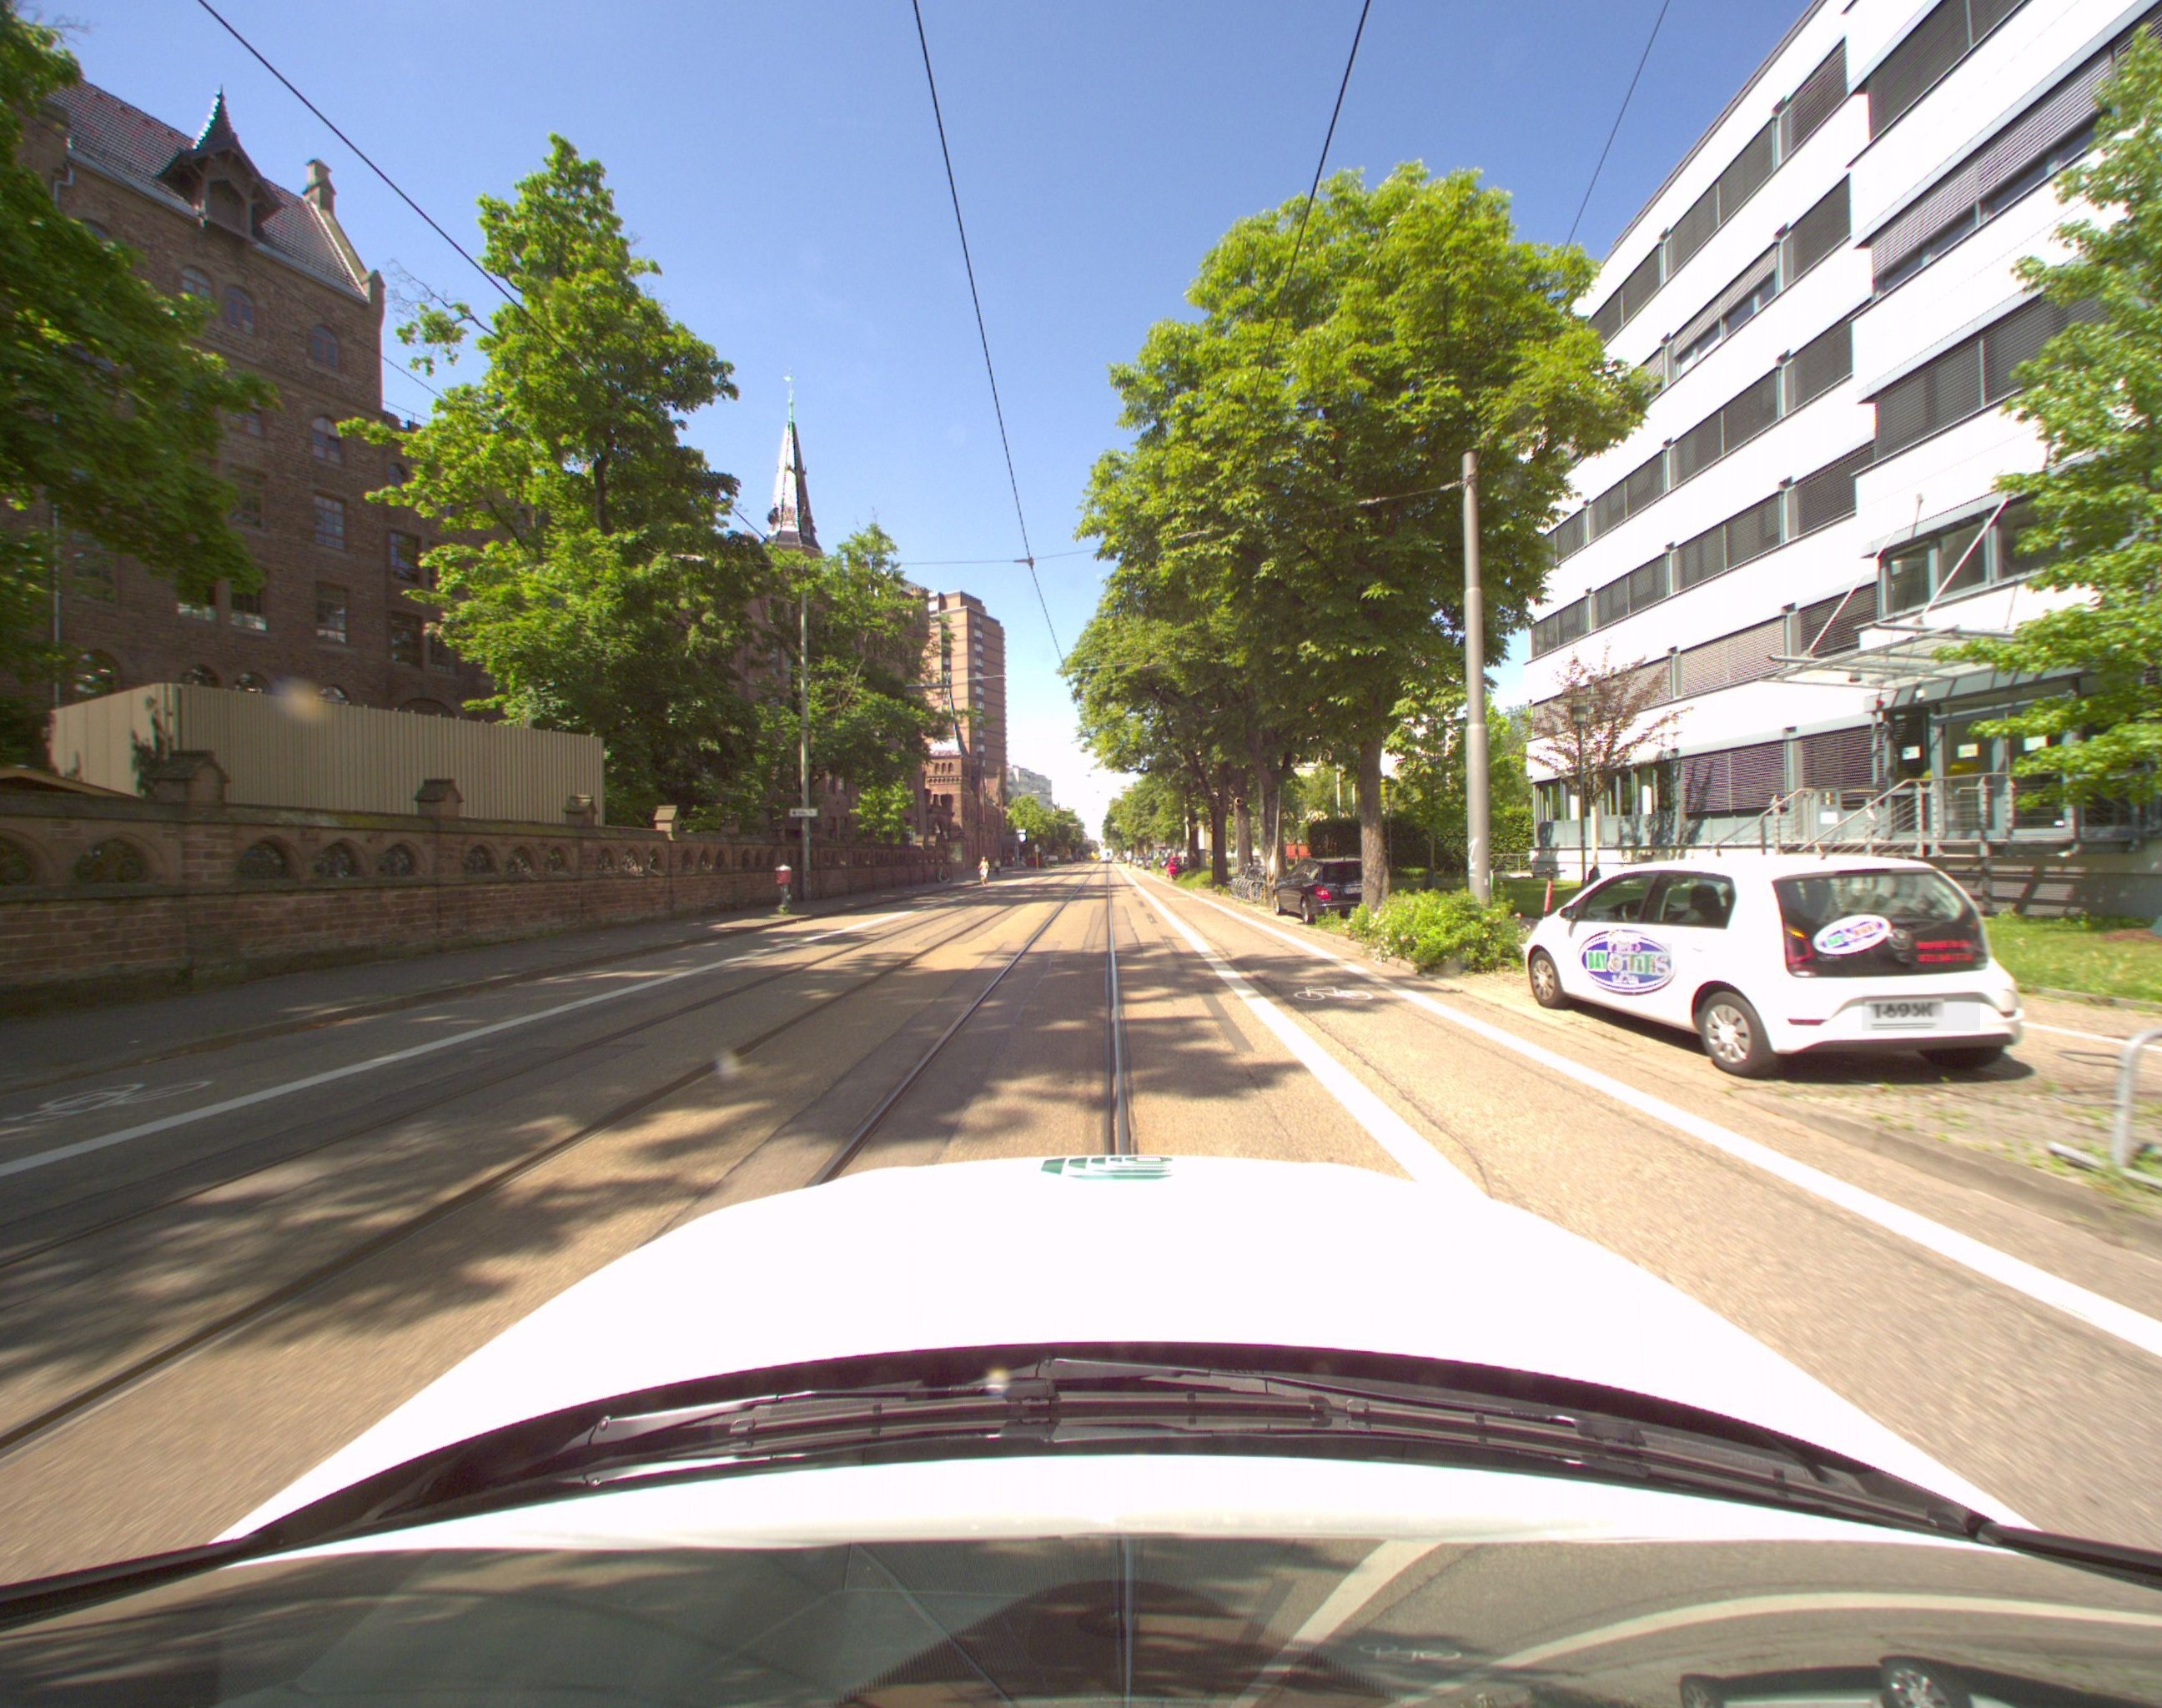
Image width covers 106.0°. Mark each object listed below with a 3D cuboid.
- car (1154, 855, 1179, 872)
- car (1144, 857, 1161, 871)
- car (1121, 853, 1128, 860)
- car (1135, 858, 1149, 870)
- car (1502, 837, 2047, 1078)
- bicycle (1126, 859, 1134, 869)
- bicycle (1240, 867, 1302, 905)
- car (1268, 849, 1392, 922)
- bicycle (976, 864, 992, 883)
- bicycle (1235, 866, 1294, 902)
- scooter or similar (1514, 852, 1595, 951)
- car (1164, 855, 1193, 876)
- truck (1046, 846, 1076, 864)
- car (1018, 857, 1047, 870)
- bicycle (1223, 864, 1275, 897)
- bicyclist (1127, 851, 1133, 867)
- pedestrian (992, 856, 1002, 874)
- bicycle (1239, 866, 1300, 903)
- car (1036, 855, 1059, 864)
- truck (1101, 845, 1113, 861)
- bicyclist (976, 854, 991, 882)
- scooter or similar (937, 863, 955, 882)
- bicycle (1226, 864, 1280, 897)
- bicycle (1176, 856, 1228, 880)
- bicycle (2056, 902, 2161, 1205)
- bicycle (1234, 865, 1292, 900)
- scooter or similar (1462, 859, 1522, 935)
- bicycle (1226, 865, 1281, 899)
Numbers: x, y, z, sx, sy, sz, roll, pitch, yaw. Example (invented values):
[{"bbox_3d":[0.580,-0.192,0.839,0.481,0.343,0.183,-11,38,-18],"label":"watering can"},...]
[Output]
[{"bbox_3d":[7.130,0.790,67.952,1.625,1.355,3.901,-2,0,0],"label":"car"},{"bbox_3d":[7.798,1.039,89.633,1.623,1.472,4.115,-1,0,2],"label":"car"},{"bbox_3d":[10.460,0.596,194.809,1.623,1.569,4.115,-2,0,2],"label":"car"},{"bbox_3d":[8.065,1.340,107.527,1.623,1.472,4.115,-2,0,2],"label":"car"},{"bbox_3d":[5.253,0.661,6.897,1.623,1.472,3.633,-1,0,3],"label":"car"},{"bbox_3d":[5.742,1.160,96.313,0.852,1.110,2.140,-2,0,1],"label":"bicycle"},{"bbox_3d":[5.747,0.967,24.736,1.718,1.086,0.629,-2,0,1],"label":"bicycle"},{"bbox_3d":[5.695,0.651,19.181,1.624,1.483,4.273,-2,0,0],"label":"car"},{"bbox_3d":[-6.079,1.221,51.047,0.660,1.154,2.015,-1,0,2],"label":"bicycle"},{"bbox_3d":[5.859,0.942,26.043,1.718,1.086,0.570,-2,0,1],"label":"bicycle"},{"bbox_3d":[6.594,0.633,11.390,0.471,1.301,1.158,-1,-1,2],"label":"scooter or similar"},{"bbox_3d":[6.914,0.799,58.094,1.625,1.472,3.719,-2,0,0],"label":"car"},{"bbox_3d":[-4.597,0.226,187.755,2.788,3.859,10.056,-2,0,24],"label":"truck"},{"bbox_3d":[-7.485,1.455,125.823,4.017,1.810,1.869,-1,-1,-36],"label":"car"},{"bbox_3d":[5.906,0.925,28.725,1.718,1.086,0.478,-2,0,1],"label":"bicycle"},{"bbox_3d":[5.760,0.636,96.235,0.633,1.871,1.024,-2,0,1],"label":"bicyclist"},{"bbox_3d":[-7.654,0.997,73.968,0.882,1.512,1.472,-1,-1,-7],"label":"pedestrian"},{"bbox_3d":[5.872,0.932,25.393,1.718,1.086,0.697,-2,0,1],"label":"bicycle"},{"bbox_3d":[-6.525,1.074,158.902,4.011,1.750,1.981,-1,-1,-29],"label":"car"},{"bbox_3d":[5.479,-0.231,170.191,2.393,3.108,6.039,-1,0,2],"label":"truck"},{"bbox_3d":[-6.084,0.869,50.917,0.722,1.698,1.147,-1,-1,1],"label":"bicyclist"},{"bbox_3d":[-8.386,1.141,50.656,0.329,1.129,1.194,-2,-1,41],"label":"scooter or similar"},{"bbox_3d":[5.956,0.916,28.239,1.718,1.086,0.478,-2,0,1],"label":"bicycle"},{"bbox_3d":[7.233,0.852,48.996,3.014,1.332,1.042,-1,-1,5],"label":"bicycle"},{"bbox_3d":[5.212,0.778,3.134,1.897,1.169,0.819,-2,0,1],"label":"bicycle"},{"bbox_3d":[5.942,0.932,26.635,1.718,1.086,0.589,-2,0,1],"label":"bicycle"},{"bbox_3d":[6.681,0.679,13.273,0.400,1.173,1.158,-1,-1,2],"label":"scooter or similar"},{"bbox_3d":[5.867,0.937,27.698,1.718,1.086,0.615,-2,0,1],"label":"bicycle"}]
